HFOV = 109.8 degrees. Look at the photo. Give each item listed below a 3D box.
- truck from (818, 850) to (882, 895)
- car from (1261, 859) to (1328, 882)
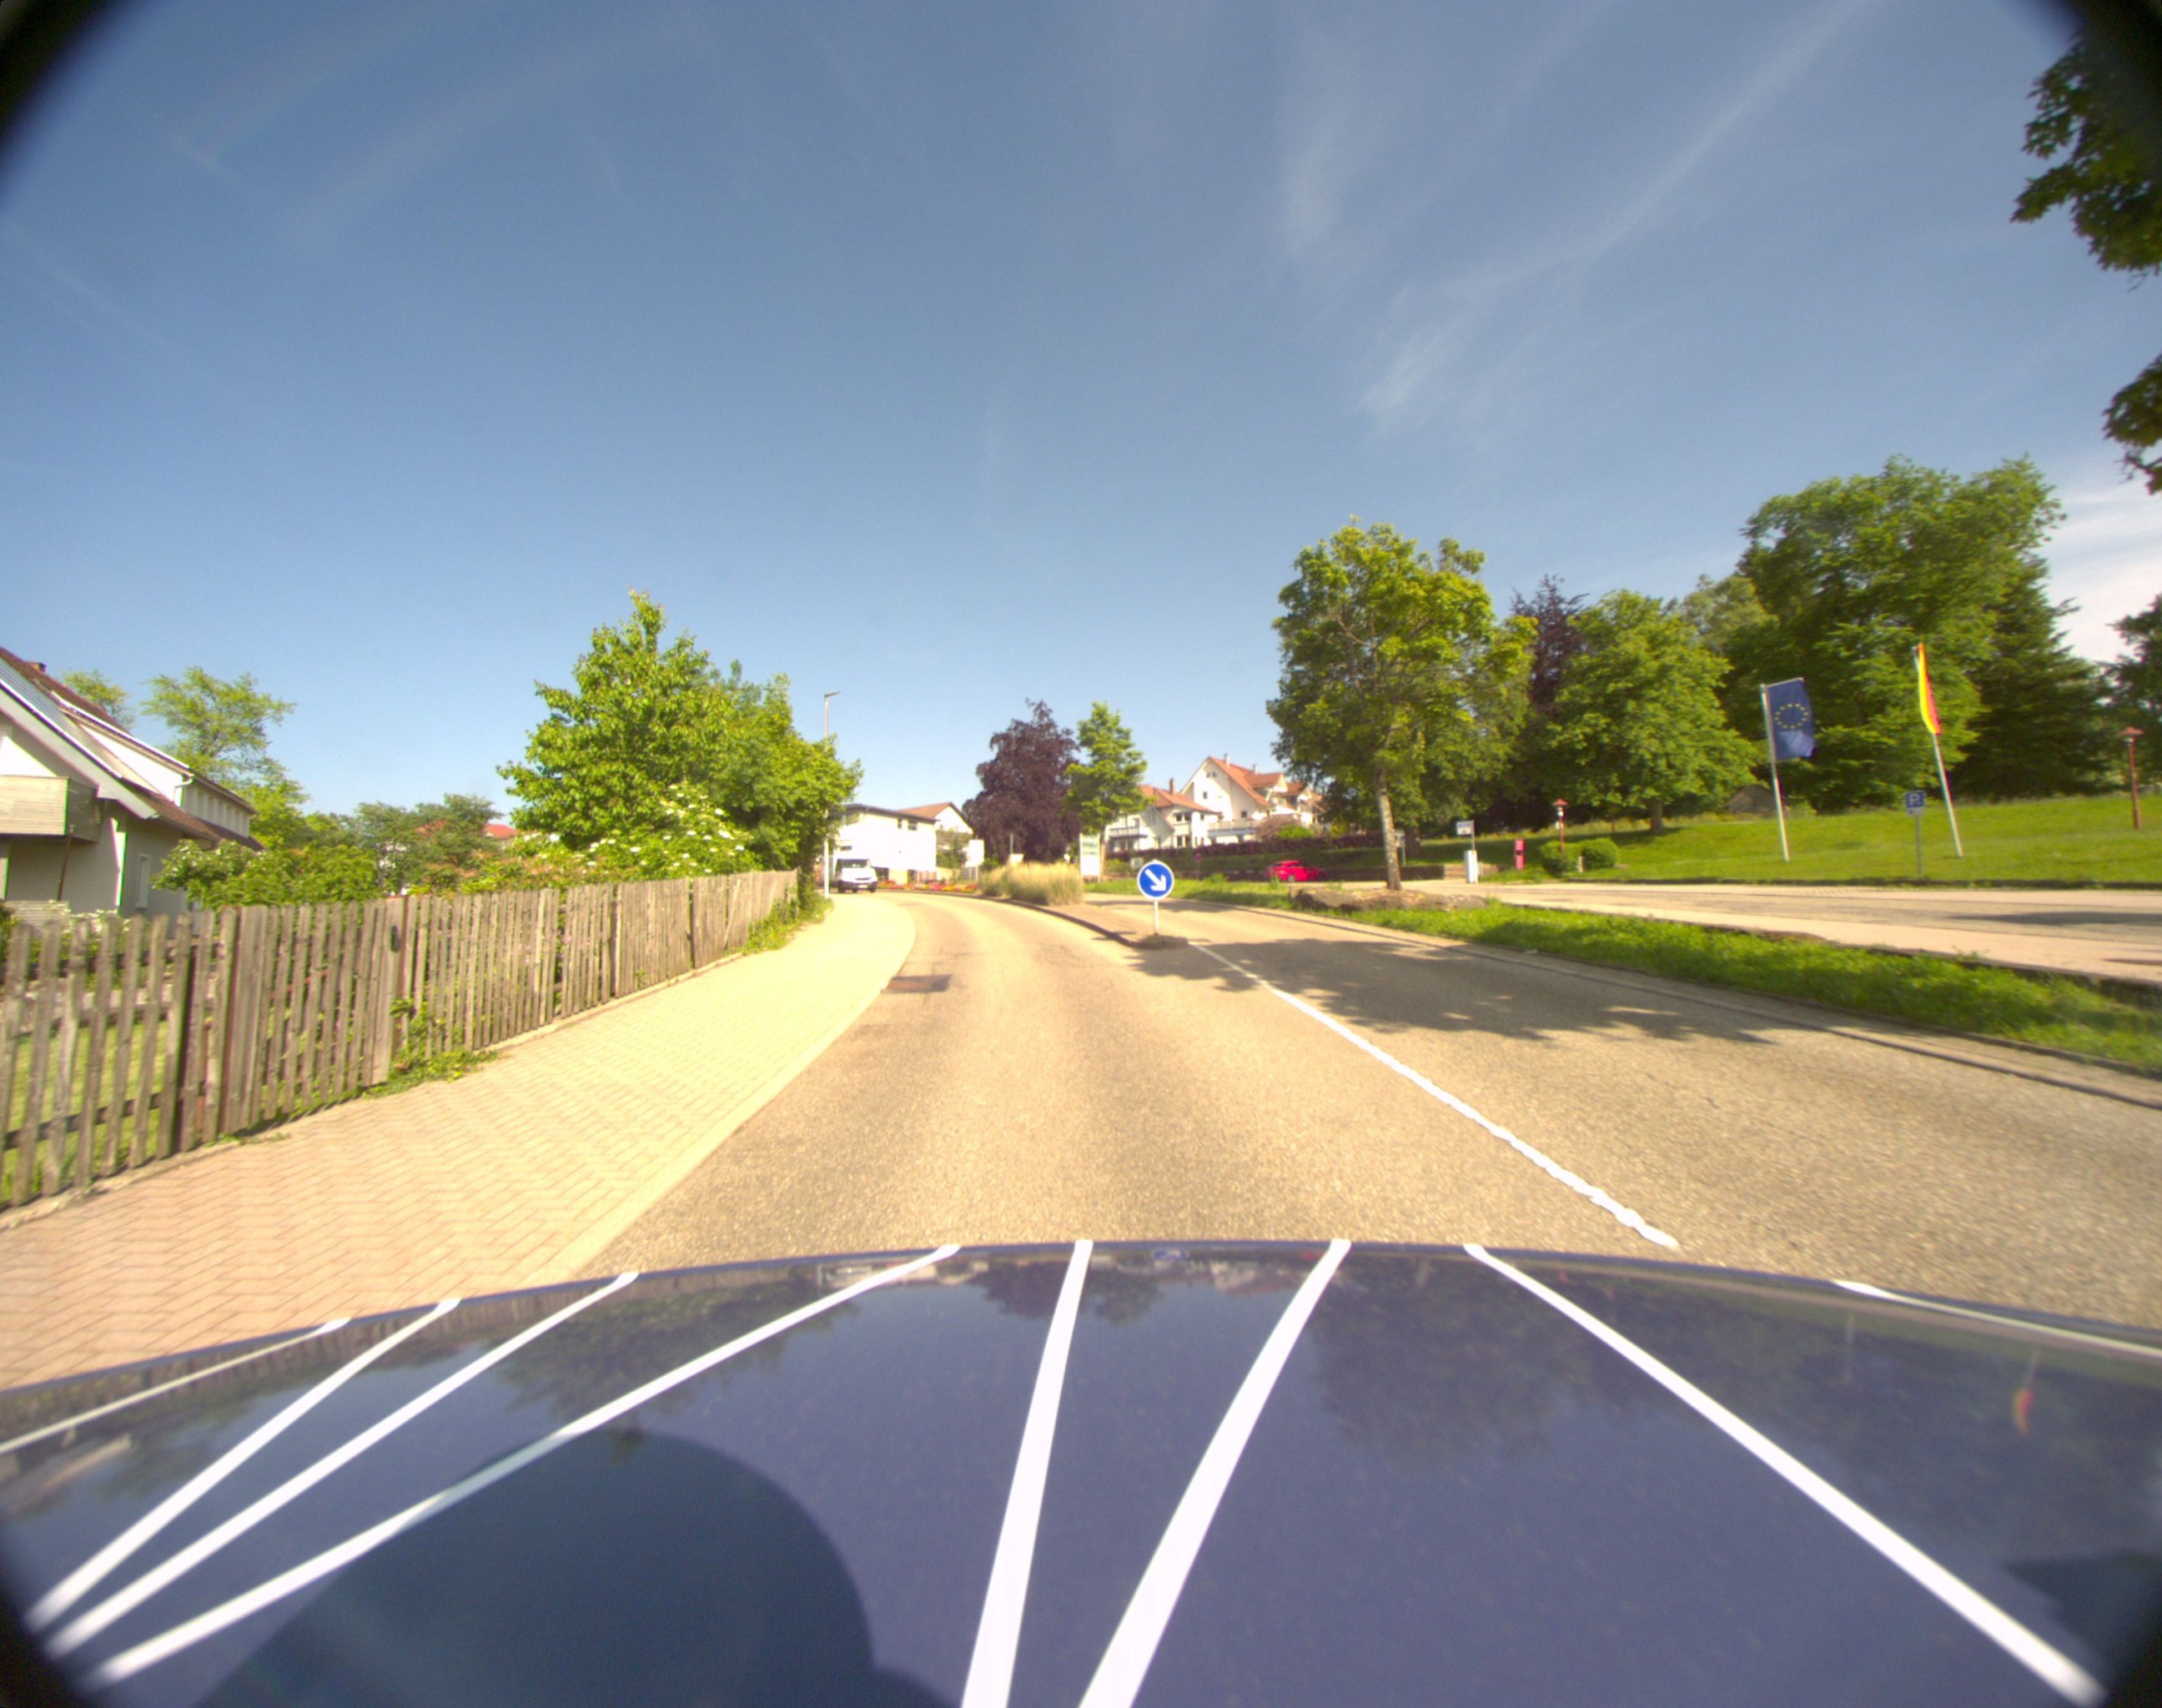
[{"bbox_3d":[-14.072,1.180,45.976,2.003,2.327,6.481,-4,-1,-32],"label":"truck"},{"bbox_3d":[14.161,1.095,50.316,4.245,1.390,1.820,-1,-1,-30],"label":"car"}]
